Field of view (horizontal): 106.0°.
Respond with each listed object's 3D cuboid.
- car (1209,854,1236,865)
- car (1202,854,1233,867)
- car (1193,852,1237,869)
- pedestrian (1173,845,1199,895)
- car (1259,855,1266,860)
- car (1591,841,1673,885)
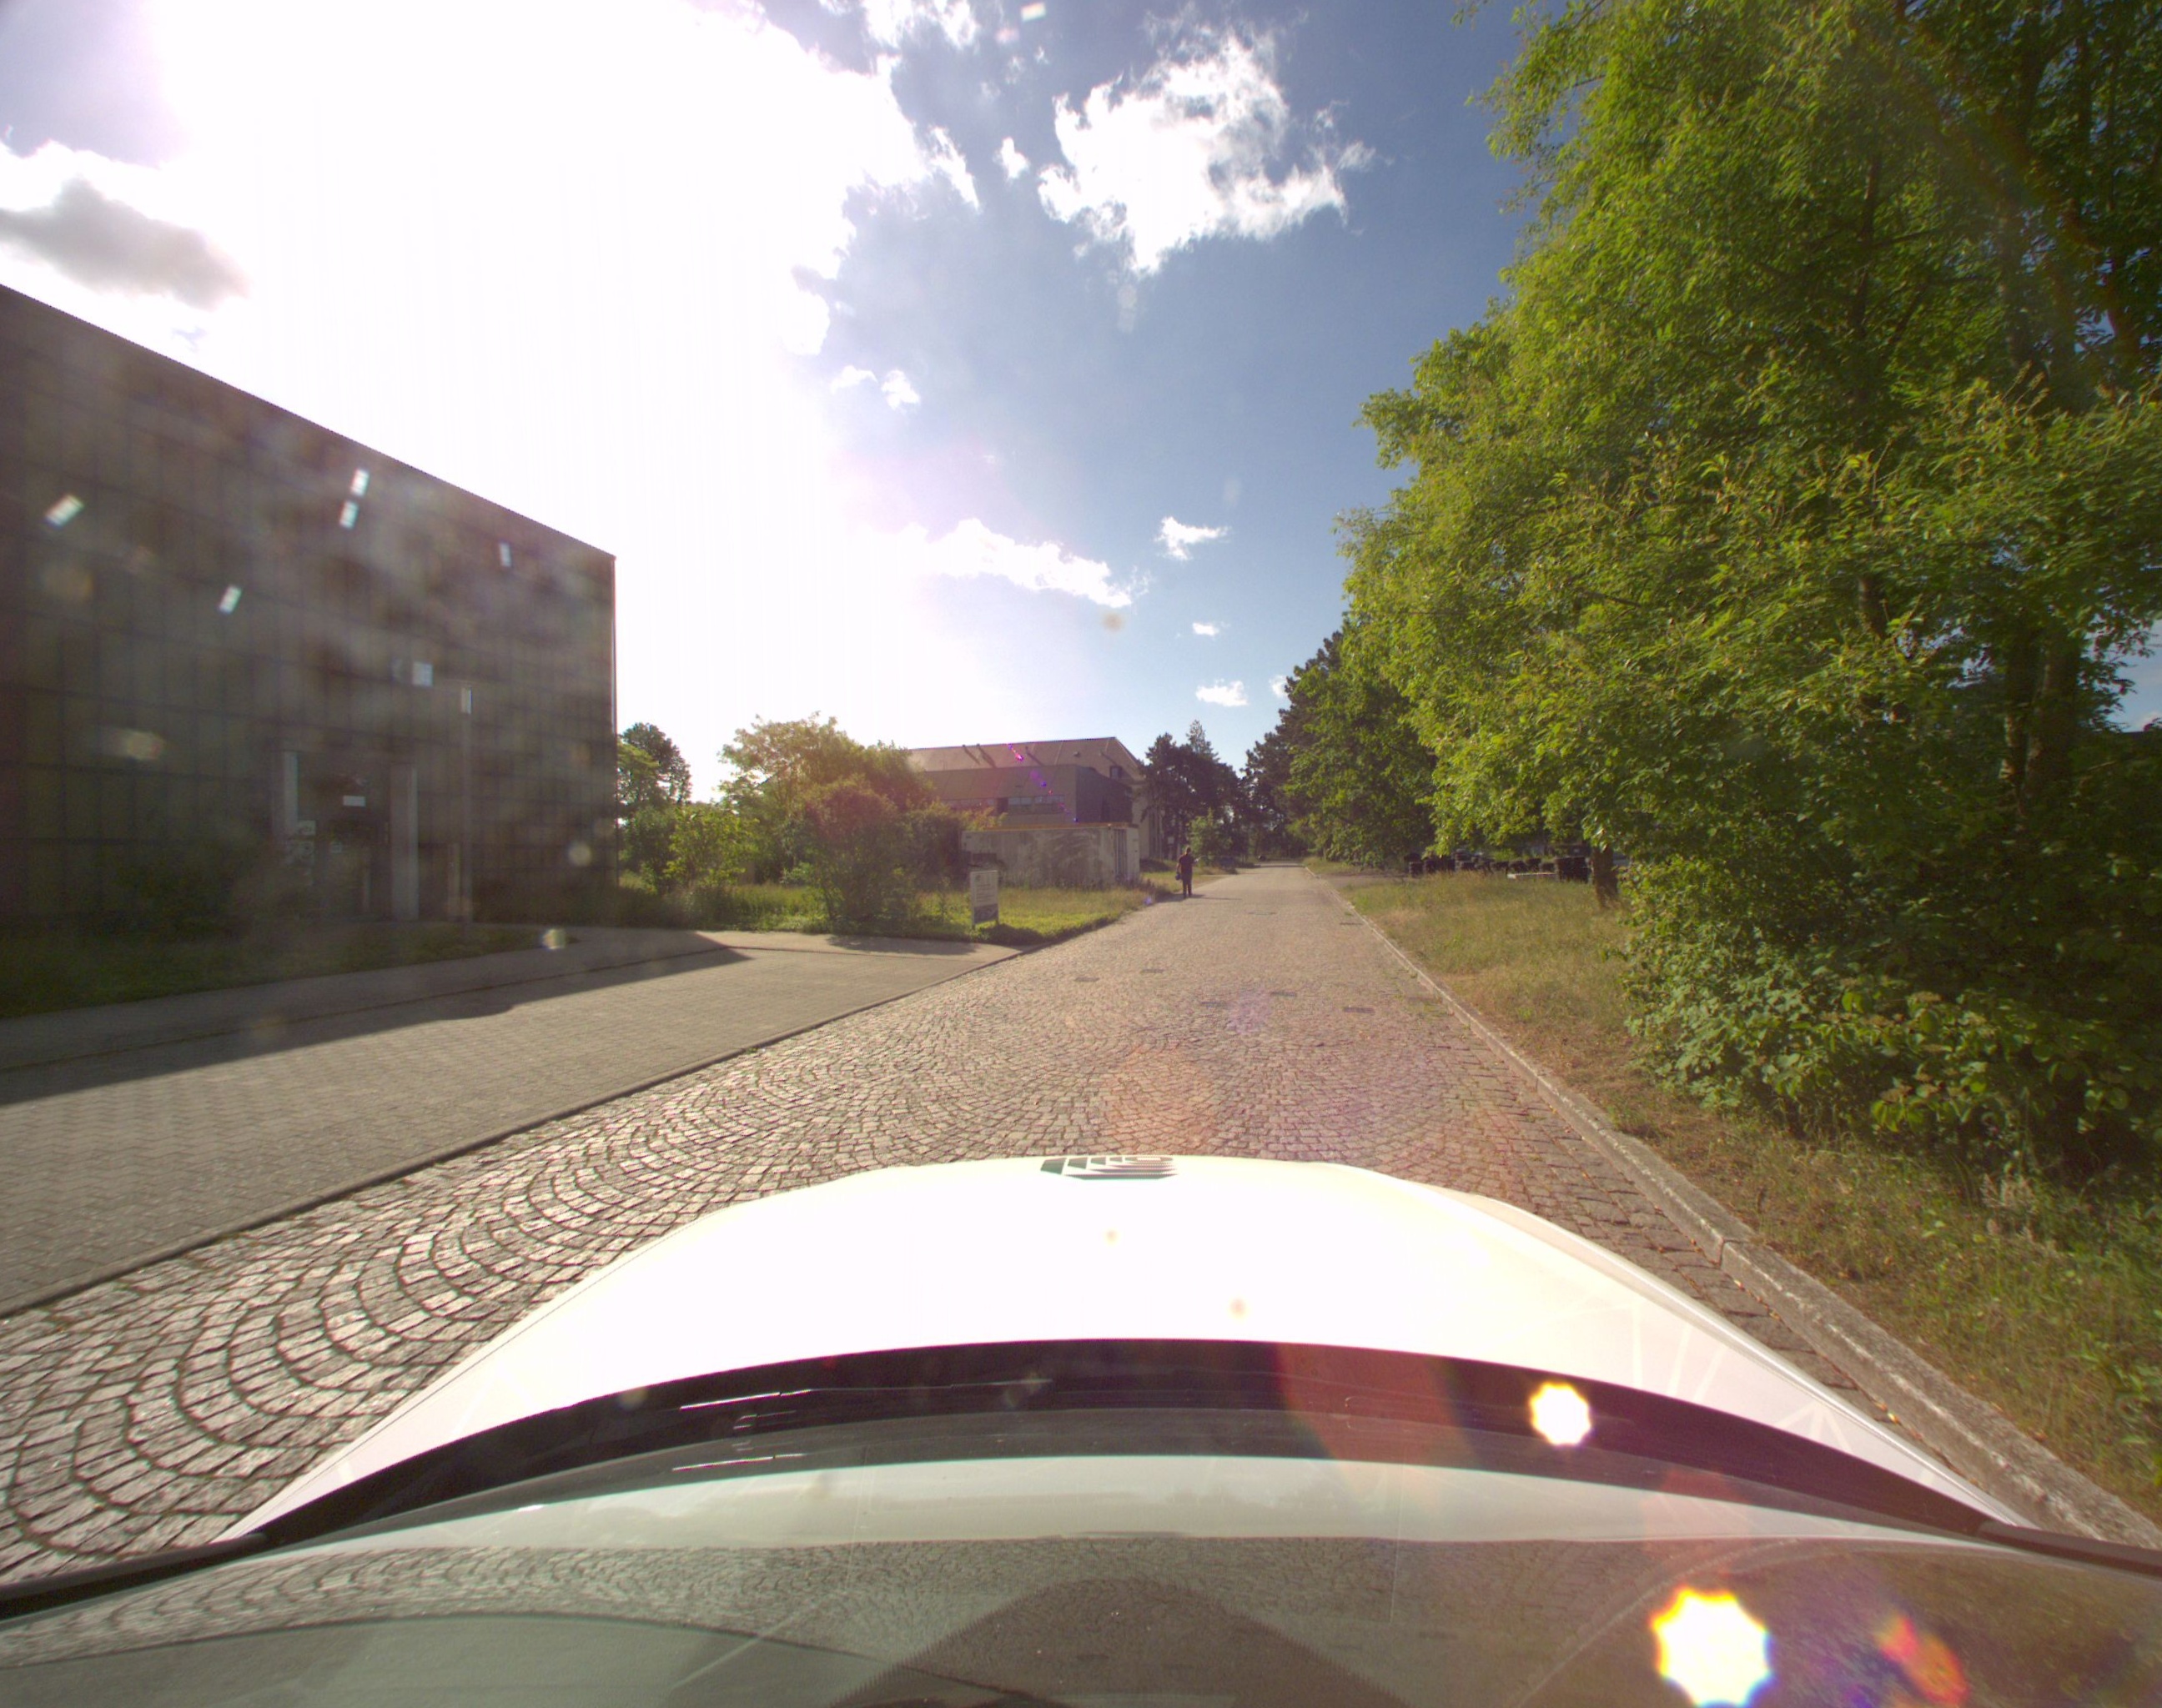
[{"bbox_3d":[15.604,0.612,89.708,2.839,1.206,1.376,-1,0,5],"label":"car"},{"bbox_3d":[13.485,0.622,80.531,2.888,1.259,1.290,-1,0,5],"label":"car"},{"bbox_3d":[12.094,0.566,73.404,3.807,1.441,1.588,-1,0,12],"label":"car"},{"bbox_3d":[3.790,0.569,29.329,0.789,1.781,1.072,0,0,13],"label":"pedestrian"},{"bbox_3d":[42.926,0.830,192.558,1.360,1.099,2.872,-1,0,12],"label":"car"},{"bbox_3d":[19.178,0.304,28.475,1.528,1.407,3.595,-1,0,20],"label":"car"}]
